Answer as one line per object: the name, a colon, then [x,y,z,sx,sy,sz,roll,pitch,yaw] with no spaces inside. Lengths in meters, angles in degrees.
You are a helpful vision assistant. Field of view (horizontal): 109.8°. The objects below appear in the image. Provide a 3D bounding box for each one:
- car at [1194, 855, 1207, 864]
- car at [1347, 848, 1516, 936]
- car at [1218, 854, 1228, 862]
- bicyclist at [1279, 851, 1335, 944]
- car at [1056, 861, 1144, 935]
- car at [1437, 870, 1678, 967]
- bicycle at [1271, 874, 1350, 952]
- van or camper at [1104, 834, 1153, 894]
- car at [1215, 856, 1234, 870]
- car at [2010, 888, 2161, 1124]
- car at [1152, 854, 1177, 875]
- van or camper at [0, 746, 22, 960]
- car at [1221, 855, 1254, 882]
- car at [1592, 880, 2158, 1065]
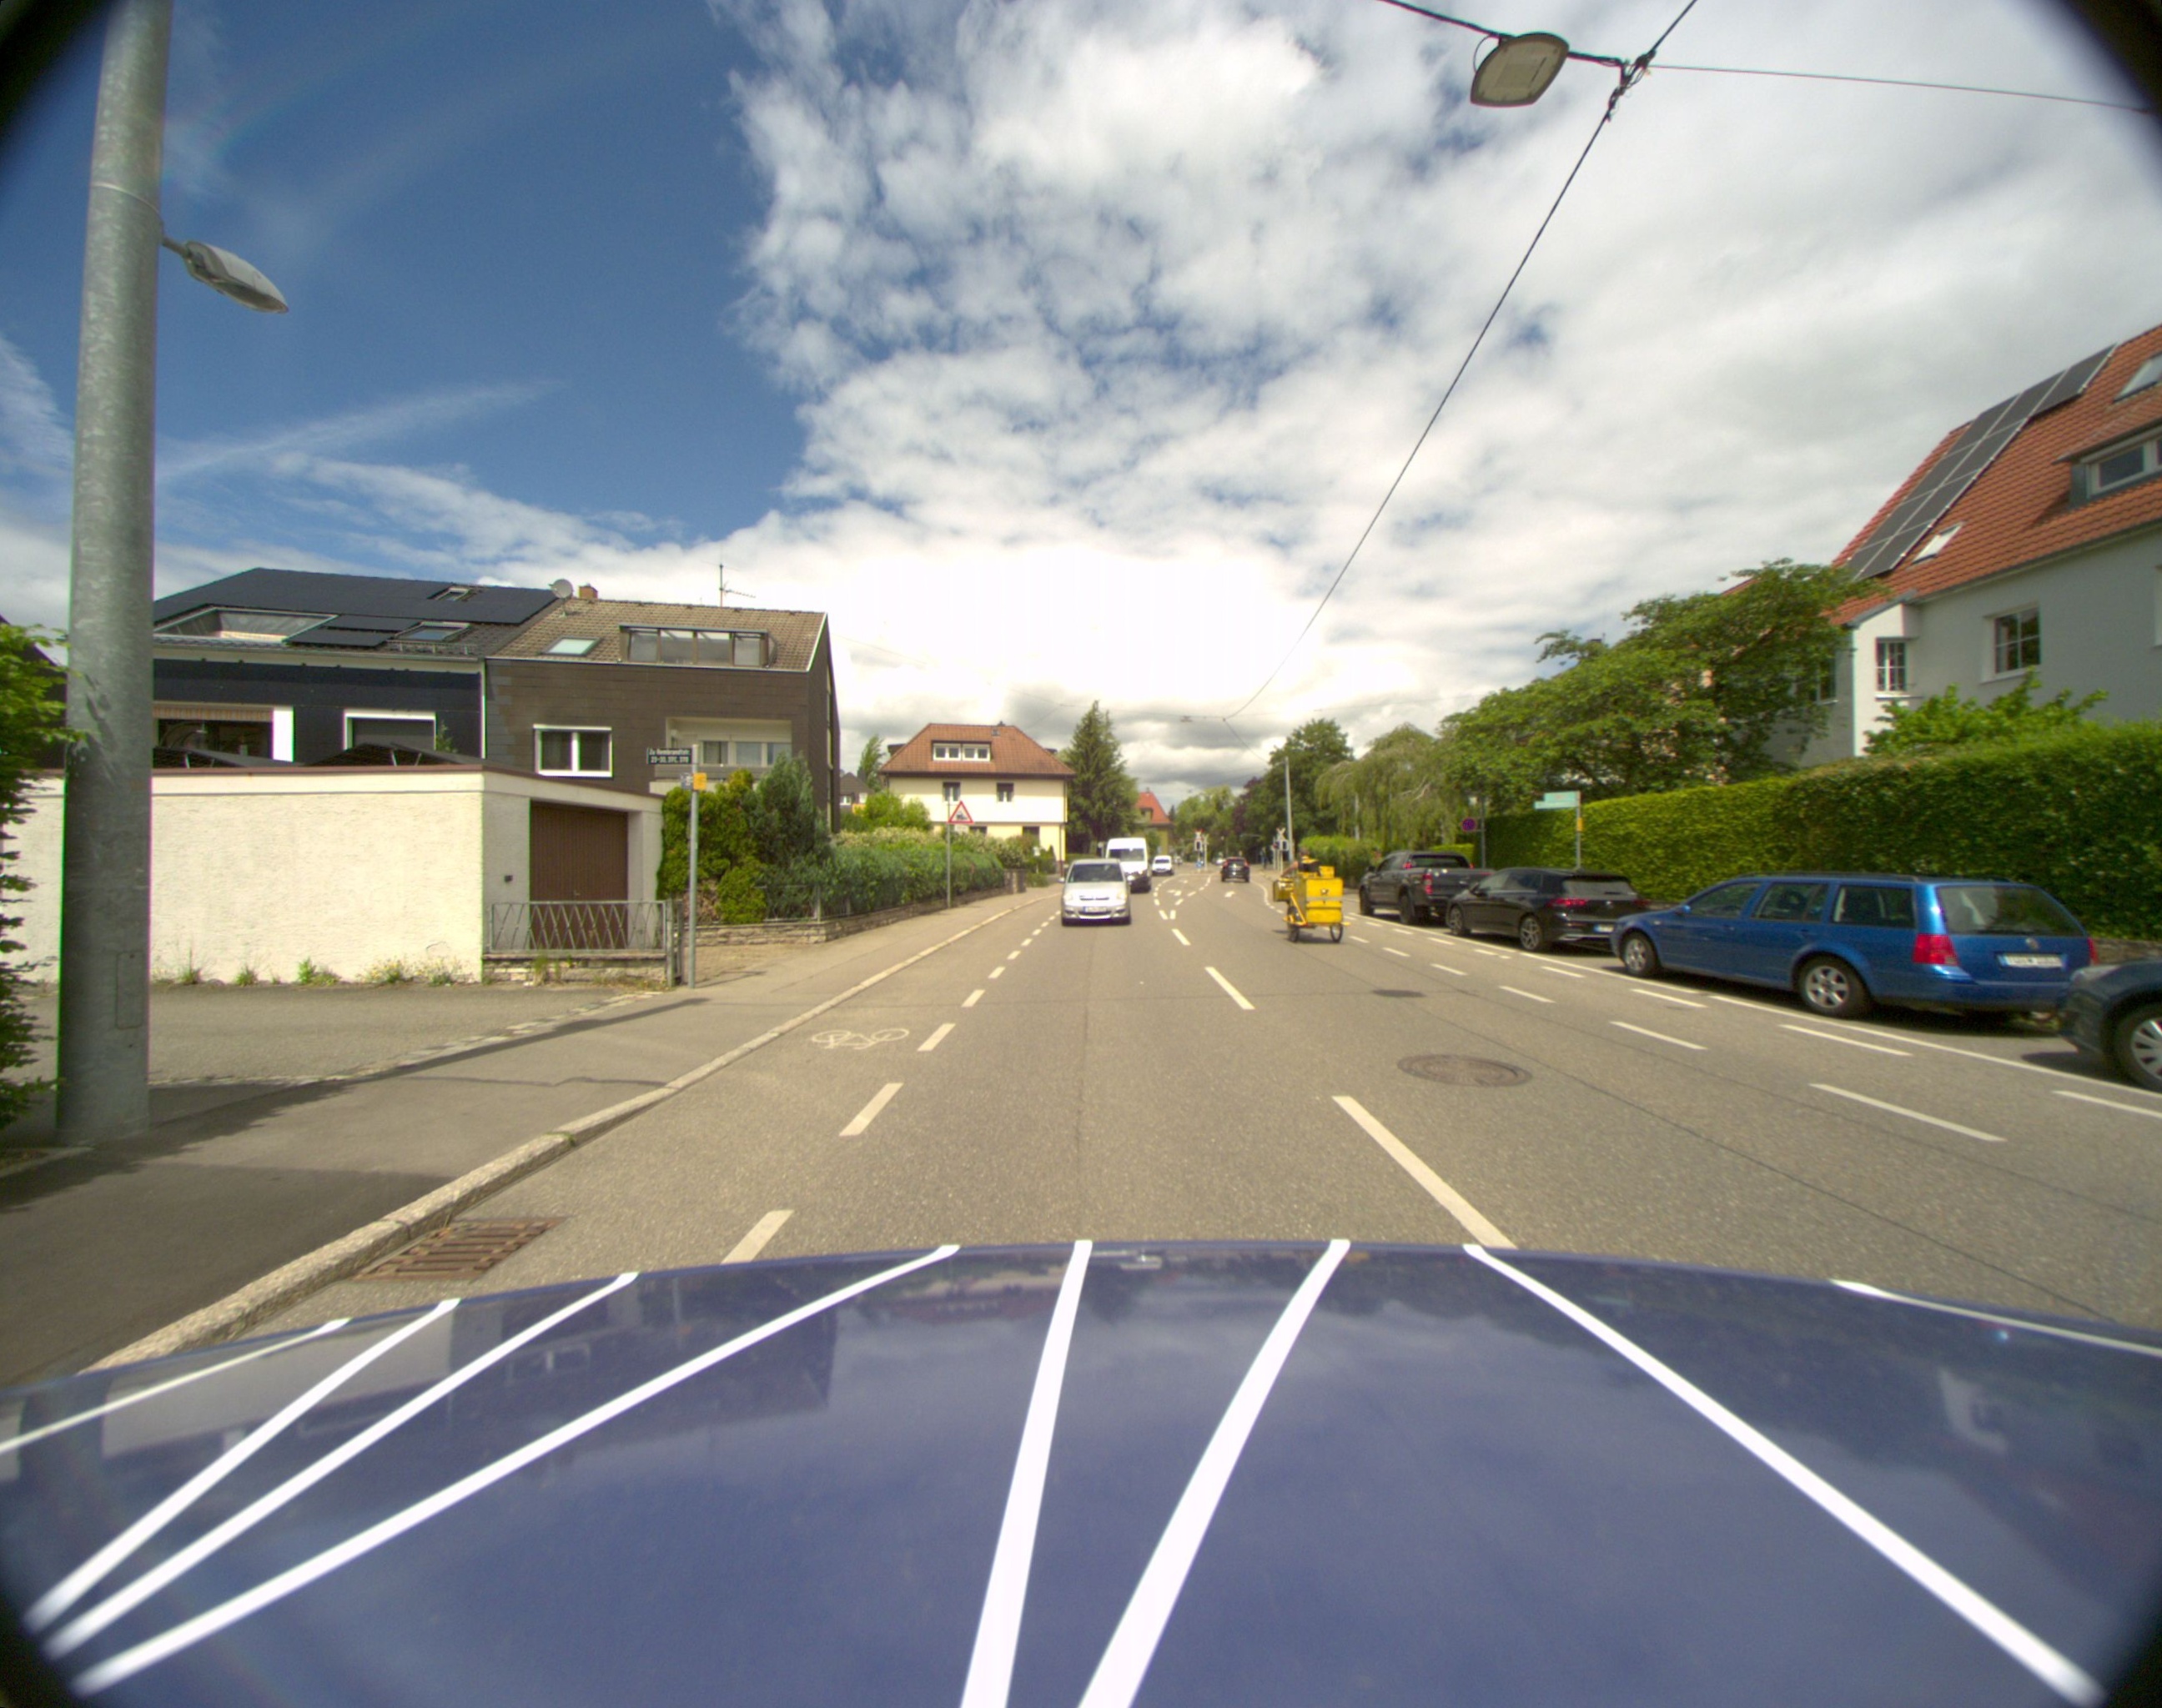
car: [22.693,1.046,144.187,1.997,1.418,4.003,-2,0,12]
car: [8.681,0.835,19.483,1.998,1.884,5.404,2,0,3]
car: [27.580,0.738,147.430,1.931,1.411,4.004,-2,0,12]
bicyclist: [4.318,0.805,14.592,0.794,1.703,1.209,0,0,4]
car: [0.586,0.990,18.833,1.707,1.531,4.333,-2,0,7]
car: [8.346,1.044,13.863,1.782,1.409,4.340,0,0,2]
bicycle: [4.339,1.072,14.616,0.865,1.294,2.662,0,0,3]
van or camper: [2.366,0.495,36.374,2.029,2.564,5.926,-2,-1,6]
car: [15.031,0.934,79.804,1.879,1.467,4.445,0,0,10]
car: [7.950,0.997,3.449,1.782,1.483,4.564,0,0,-3]
car: [7.681,0.938,69.586,1.931,1.771,4.003,-2,0,10]
van or camper: [-20.131,0.120,9.023,8.694,3.283,2.414,-2,1,-23]
car: [10.550,0.957,51.489,1.919,1.639,4.297,3,1,10]
car: [8.161,1.071,8.599,1.782,1.409,4.440,0,0,0]
